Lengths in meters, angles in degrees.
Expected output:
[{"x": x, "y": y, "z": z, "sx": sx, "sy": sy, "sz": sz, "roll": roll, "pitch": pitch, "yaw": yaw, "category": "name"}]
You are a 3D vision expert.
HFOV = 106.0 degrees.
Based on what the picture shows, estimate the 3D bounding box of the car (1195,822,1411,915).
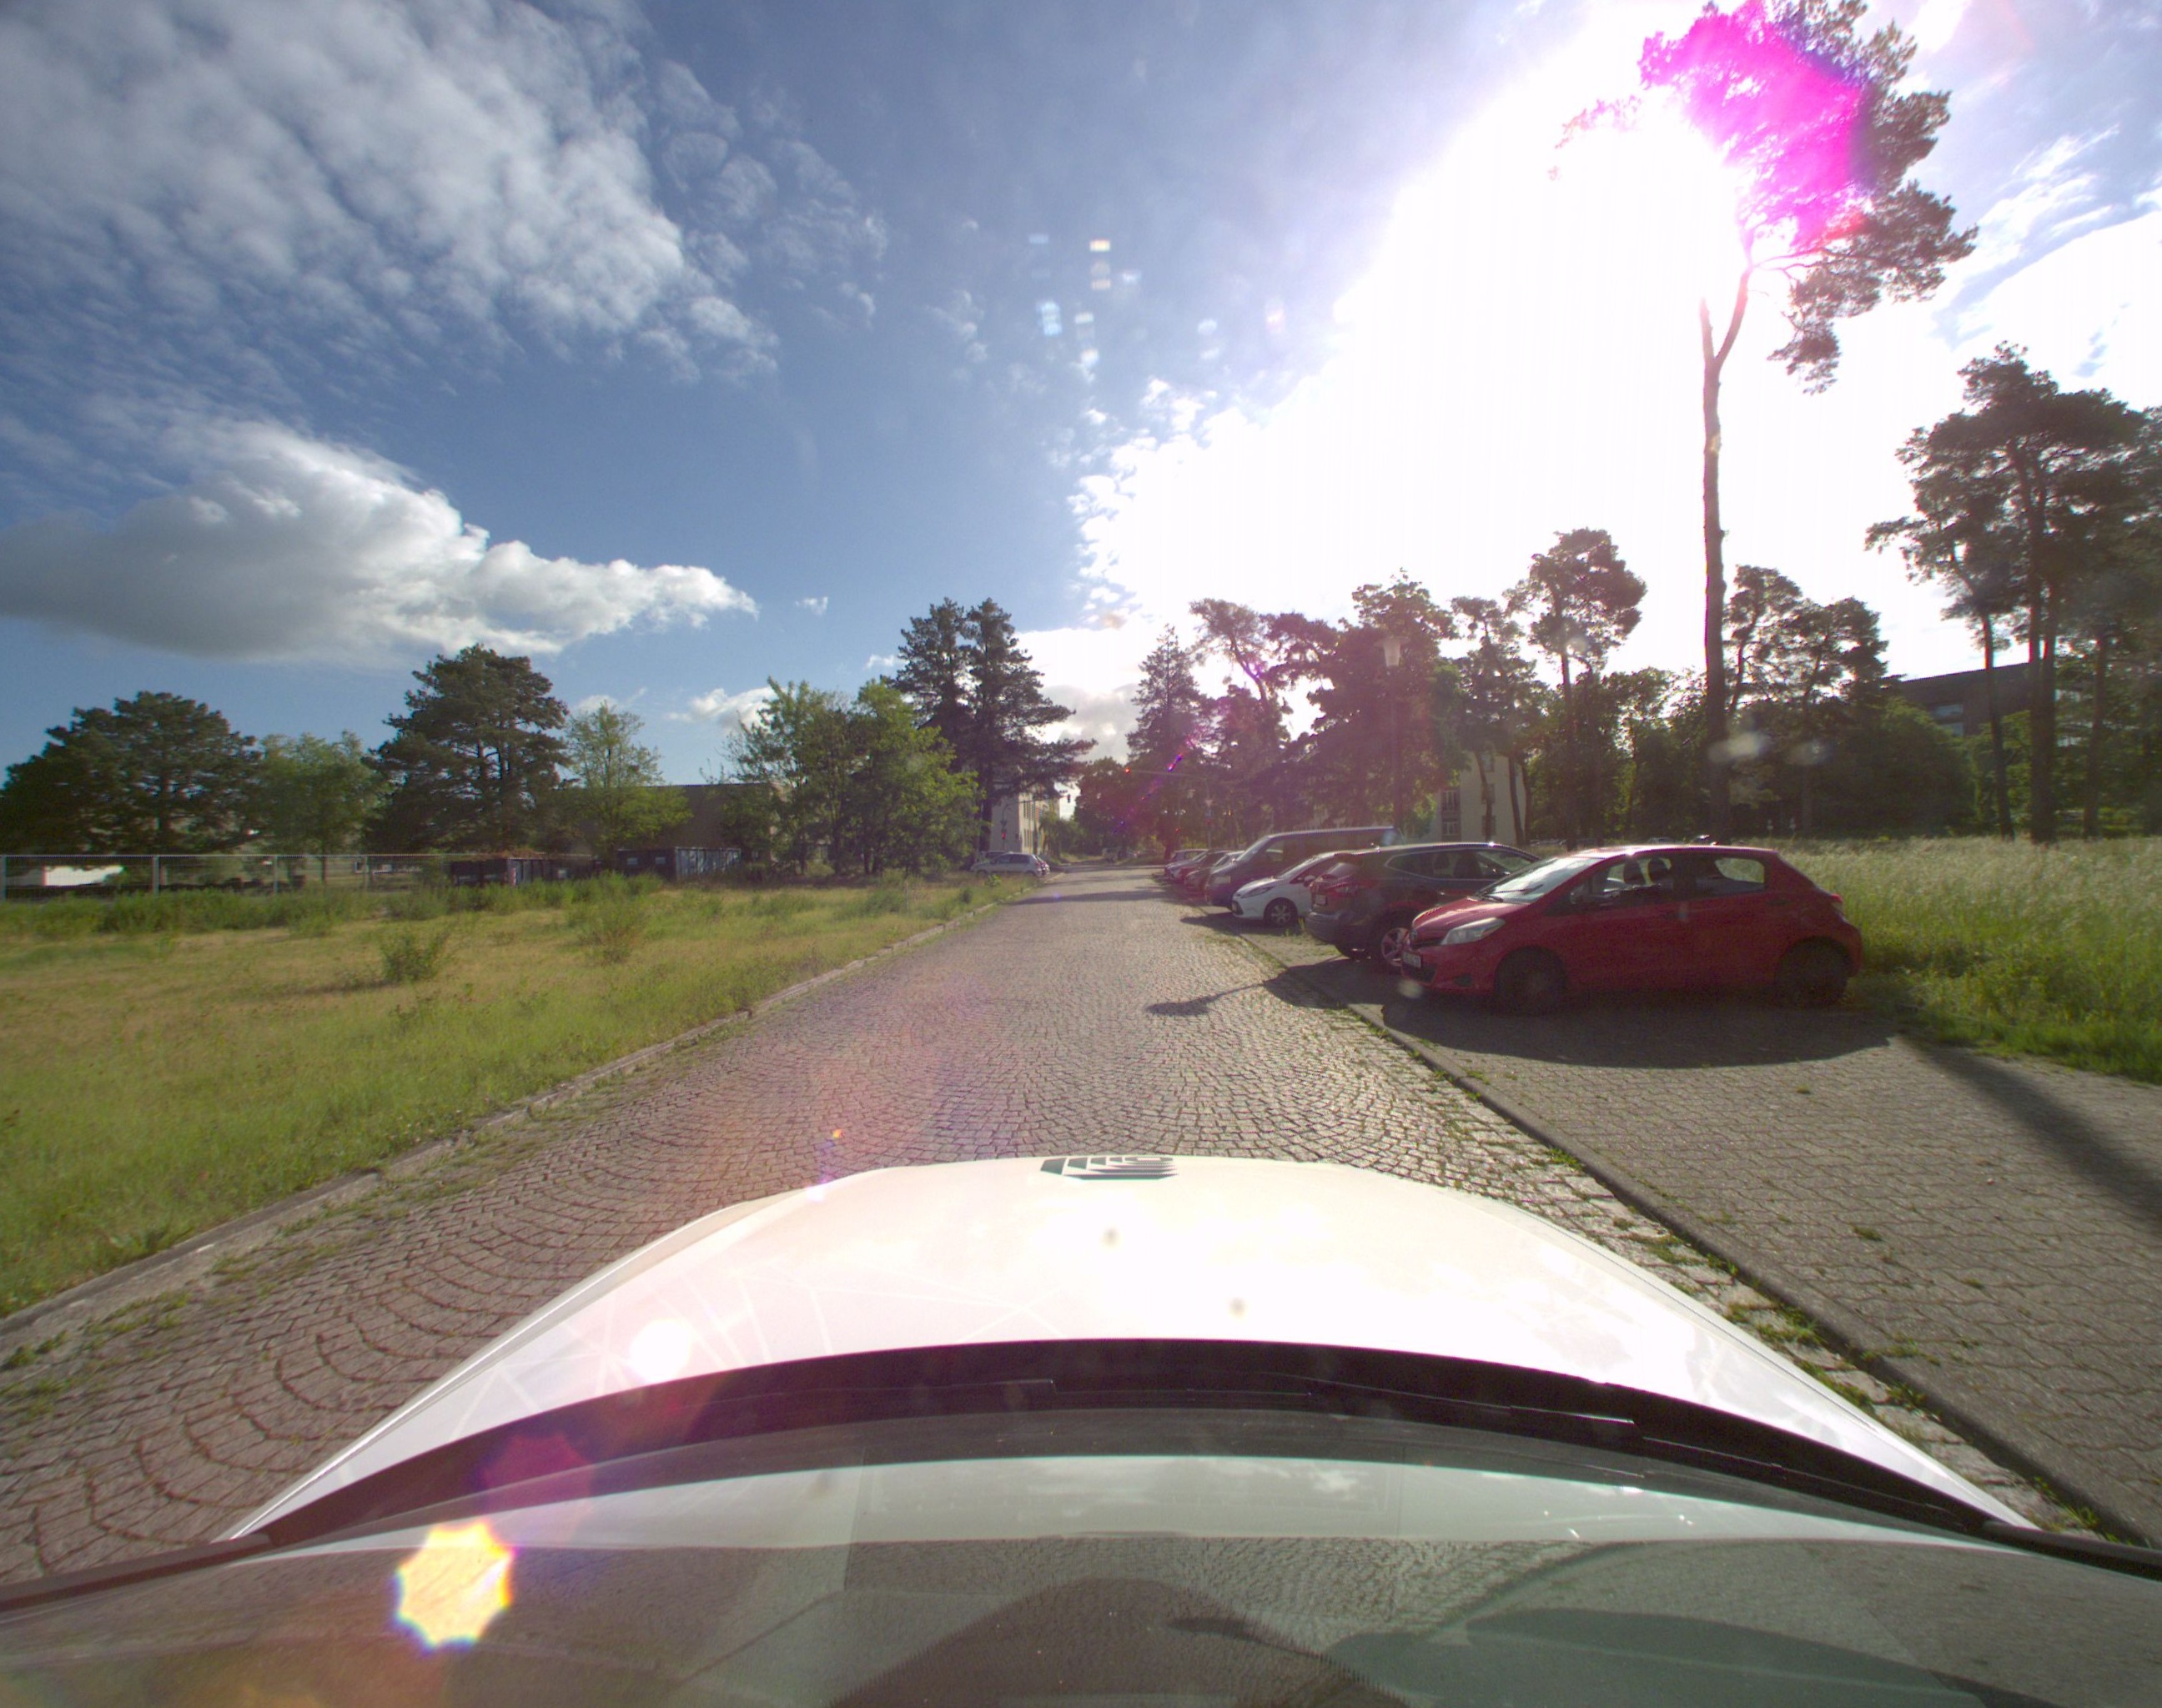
[{"x": 5.274, "y": 0.315, "z": 19.834, "sx": 4.663, "sy": 2.013, "sz": 2.083, "roll": -2, "pitch": 0, "yaw": -1, "category": "car"}]

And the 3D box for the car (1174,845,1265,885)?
[{"x": 5.667, "y": 0.441, "z": 33.512, "sx": 3.466, "sy": 1.529, "sz": 1.646, "roll": -2, "pitch": 0, "yaw": 0, "category": "car"}]

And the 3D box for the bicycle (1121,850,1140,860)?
[{"x": 5.708, "y": 0.100, "z": 94.004, "sx": 2.171, "sy": 1.100, "sz": 0.805, "roll": -1, "pitch": 0, "yaw": -8, "category": "bicycle"}]

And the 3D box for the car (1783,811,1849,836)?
[{"x": 65.205, "y": -2.671, "z": 72.320, "sx": 3.972, "sy": 2.013, "sz": 2.001, "roll": -2, "pitch": 0, "yaw": 2, "category": "car"}]

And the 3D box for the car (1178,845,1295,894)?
[{"x": 5.268, "y": 0.517, "z": 27.907, "sx": 3.662, "sy": 1.467, "sz": 1.645, "roll": -3, "pitch": 0, "yaw": 0, "category": "car"}]

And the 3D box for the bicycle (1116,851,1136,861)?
[{"x": 5.113, "y": 0.268, "z": 92.527, "sx": 2.171, "sy": 1.100, "sz": 0.805, "roll": -1, "pitch": 0, "yaw": -8, "category": "bicycle"}]

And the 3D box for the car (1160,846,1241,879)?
[{"x": 5.949, "y": 0.415, "z": 40.822, "sx": 3.822, "sy": 1.529, "sz": 1.646, "roll": -2, "pitch": 0, "yaw": 0, "category": "car"}]

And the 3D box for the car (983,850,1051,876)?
[{"x": -3.940, "y": 0.552, "z": 50.763, "sx": 3.972, "sy": 1.453, "sz": 2.001, "roll": 1, "pitch": 0, "yaw": 1, "category": "car"}]

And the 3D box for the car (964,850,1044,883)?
[{"x": -4.025, "y": 0.641, "z": 42.968, "sx": 3.975, "sy": 1.600, "sz": 1.999, "roll": -2, "pitch": 0, "yaw": -1, "category": "car"}]

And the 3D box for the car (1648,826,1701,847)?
[{"x": 61.394, "y": -1.774, "z": 84.294, "sx": 3.972, "sy": 2.013, "sz": 2.001, "roll": -2, "pitch": 0, "yaw": 2, "category": "car"}]

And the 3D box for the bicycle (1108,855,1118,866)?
[{"x": 3.494, "y": 0.696, "z": 89.109, "sx": 0.803, "sy": 1.169, "sz": 2.177, "roll": -3, "pitch": 0, "yaw": -4, "category": "bicycle"}]

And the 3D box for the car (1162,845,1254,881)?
[{"x": 5.895, "y": 0.409, "z": 38.049, "sx": 4.023, "sy": 1.529, "sz": 1.644, "roll": -2, "pitch": 0, "yaw": -2, "category": "car"}]

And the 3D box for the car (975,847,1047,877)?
[{"x": -4.104, "y": 0.469, "z": 48.365, "sx": 3.972, "sy": 1.601, "sz": 2.001, "roll": 2, "pitch": 0, "yaw": 1, "category": "car"}]

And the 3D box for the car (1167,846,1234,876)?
[{"x": 6.351, "y": 0.366, "z": 43.454, "sx": 3.332, "sy": 1.482, "sz": 1.646, "roll": -2, "pitch": 0, "yaw": 0, "category": "car"}]

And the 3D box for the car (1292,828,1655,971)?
[{"x": 4.971, "y": 0.546, "z": 10.737, "sx": 3.922, "sy": 1.621, "sz": 1.772, "roll": -2, "pitch": 0, "yaw": 0, "category": "car"}]

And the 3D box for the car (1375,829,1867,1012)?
[{"x": 5.089, "y": 0.590, "z": 8.065, "sx": 3.748, "sy": 1.530, "sz": 1.646, "roll": -2, "pitch": 0, "yaw": 1, "category": "car"}]

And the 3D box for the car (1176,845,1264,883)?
[{"x": 6.101, "y": 0.415, "z": 35.963, "sx": 3.590, "sy": 1.529, "sz": 1.646, "roll": -2, "pitch": 0, "yaw": 0, "category": "car"}]

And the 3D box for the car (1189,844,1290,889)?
[{"x": 5.944, "y": 0.452, "z": 30.810, "sx": 3.466, "sy": 1.529, "sz": 1.646, "roll": -2, "pitch": 0, "yaw": 0, "category": "car"}]

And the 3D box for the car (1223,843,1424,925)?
[{"x": 5.012, "y": 0.592, "z": 17.161, "sx": 3.707, "sy": 1.488, "sz": 1.645, "roll": -2, "pitch": 0, "yaw": -1, "category": "car"}]

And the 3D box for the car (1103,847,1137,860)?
[{"x": 5.272, "y": -0.050, "z": 110.010, "sx": 4.464, "sy": 1.728, "sz": 2.001, "roll": -1, "pitch": 0, "yaw": 1, "category": "car"}]

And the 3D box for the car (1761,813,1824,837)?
[{"x": 65.023, "y": -2.606, "z": 74.434, "sx": 3.972, "sy": 2.013, "sz": 2.001, "roll": -2, "pitch": 0, "yaw": 2, "category": "car"}]

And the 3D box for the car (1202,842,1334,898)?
[{"x": 5.672, "y": 0.475, "z": 25.006, "sx": 3.679, "sy": 1.465, "sz": 1.647, "roll": -3, "pitch": 0, "yaw": 2, "category": "car"}]
